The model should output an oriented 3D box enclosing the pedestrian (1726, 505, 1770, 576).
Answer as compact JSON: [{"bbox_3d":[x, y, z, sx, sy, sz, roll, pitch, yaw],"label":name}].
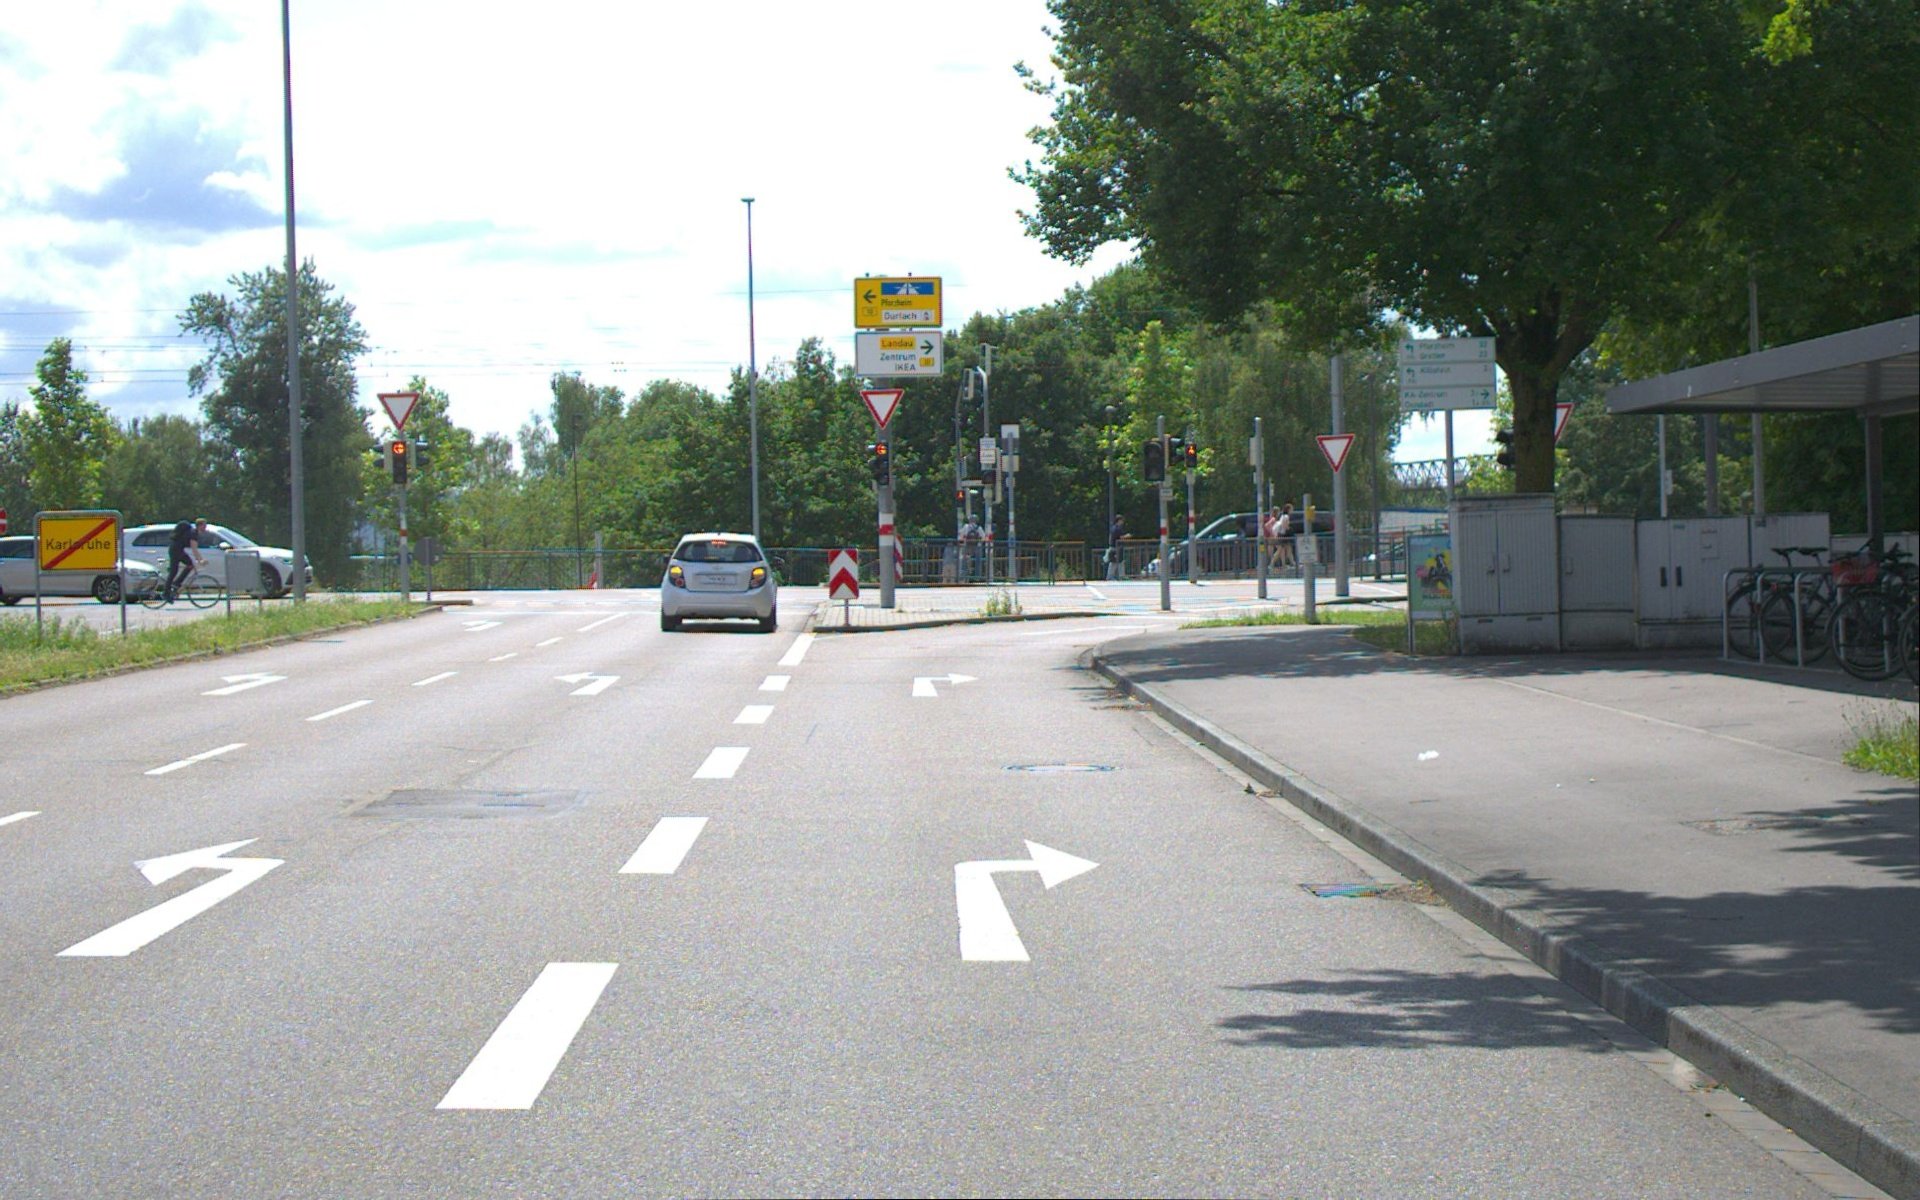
[{"bbox_3d":[20.468,-1.547,89.268,0.927,1.801,0.736,-1,1,-2],"label":"pedestrian"}]

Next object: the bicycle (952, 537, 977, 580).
[{"bbox_3d":[0.125,-1.078,89.471,0.619,1.084,1.722,-1,1,1],"label":"bicycle"}]

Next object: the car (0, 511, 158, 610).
[{"bbox_3d":[-19.361,-0.816,72.581,4.348,1.982,2.000,-2,1,-2],"label":"car"}]

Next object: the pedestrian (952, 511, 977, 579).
[{"bbox_3d":[0.120,-1.436,89.430,0.611,1.763,0.672,-1,1,1],"label":"pedestrian"}]

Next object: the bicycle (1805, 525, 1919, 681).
[{"bbox_3d":[7.681,0.001,27.186,1.861,1.183,0.424,-2,1,-5],"label":"bicycle"}]

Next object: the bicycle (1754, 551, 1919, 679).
[{"bbox_3d":[7.602,0.111,28.618,1.861,0.991,0.424,-2,1,-5],"label":"bicycle"}]

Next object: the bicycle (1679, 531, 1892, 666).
[{"bbox_3d":[7.707,-0.020,32.121,1.861,1.183,0.424,-2,1,-5],"label":"bicycle"}]

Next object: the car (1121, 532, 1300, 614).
[{"bbox_3d":[5.929,-0.651,81.617,3.986,1.776,1.910,-2,1,-3],"label":"car"}]

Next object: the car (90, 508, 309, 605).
[{"bbox_3d":[-16.719,-0.970,75.738,4.348,1.982,2.000,-2,1,-2],"label":"car"}]

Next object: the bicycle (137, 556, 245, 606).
[{"bbox_3d":[-15.398,-0.376,68.844,2.017,0.996,0.622,0,1,-1],"label":"bicycle"}]

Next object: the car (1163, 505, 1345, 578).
[{"bbox_3d":[7.912,-1.582,92.743,4.651,1.814,2.000,-2,1,-1],"label":"car"}]

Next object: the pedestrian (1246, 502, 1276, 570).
[{"bbox_3d":[7.802,-1.663,89.119,0.706,1.715,0.601,-2,1,1],"label":"pedestrian"}]

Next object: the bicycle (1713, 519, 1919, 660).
[{"bbox_3d":[7.738,-0.101,30.802,1.861,1.183,0.424,-2,1,-5],"label":"bicycle"}]

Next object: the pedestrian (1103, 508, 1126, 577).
[{"bbox_3d":[3.925,-1.462,87.385,0.523,1.715,0.730,-2,1,3],"label":"pedestrian"}]

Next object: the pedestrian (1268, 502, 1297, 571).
[{"bbox_3d":[8.293,-1.630,88.377,0.676,1.742,0.637,-1,3,1],"label":"pedestrian"}]

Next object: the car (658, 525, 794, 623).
[{"bbox_3d":[-3.630,-0.435,53.866,1.894,1.464,3.834,0,1,-1],"label":"car"}]

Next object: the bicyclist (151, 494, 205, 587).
[{"bbox_3d":[-15.654,-1.200,68.815,0.921,1.840,0.611,-1,1,-1],"label":"bicyclist"}]

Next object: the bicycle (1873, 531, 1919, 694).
[{"bbox_3d":[7.657,0.051,24.959,1.896,1.166,0.424,-3,1,1],"label":"bicycle"}]
